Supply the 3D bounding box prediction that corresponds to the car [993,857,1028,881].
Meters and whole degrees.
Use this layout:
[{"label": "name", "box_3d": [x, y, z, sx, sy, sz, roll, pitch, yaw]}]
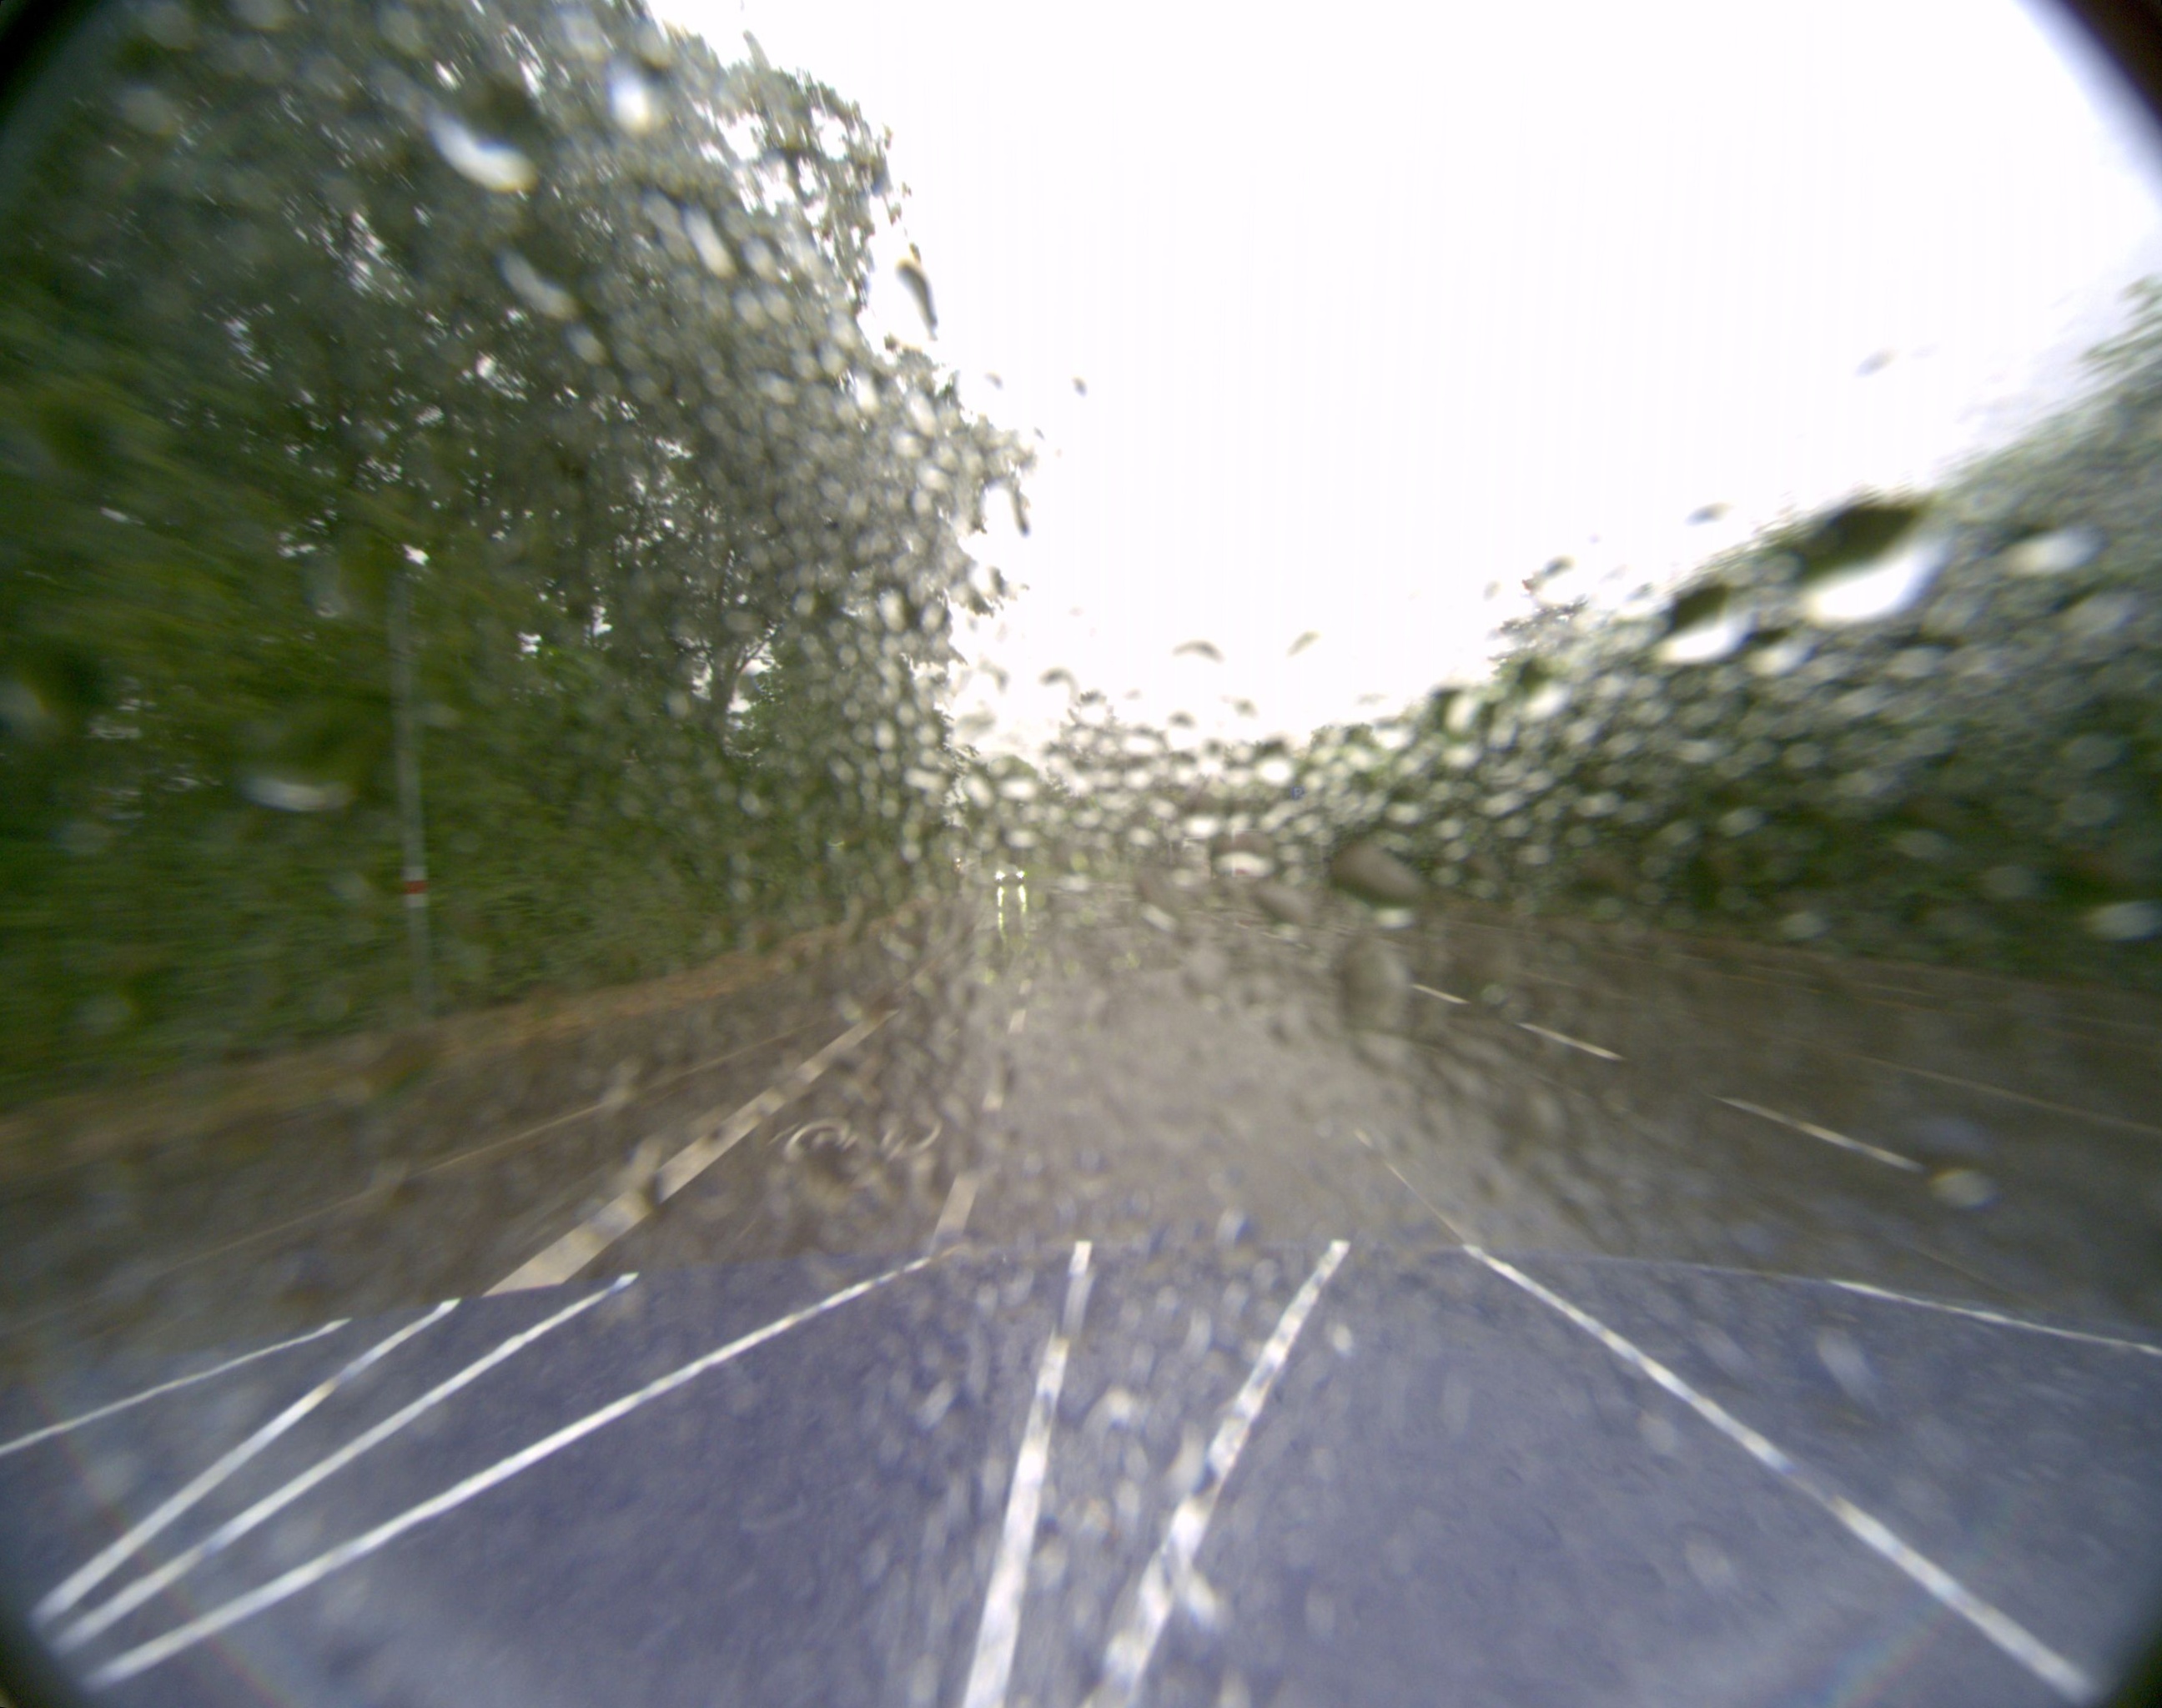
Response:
[{"label": "car", "box_3d": [-4.998, 1.043, 53.611, 1.801, 1.543, 3.995, -3, 0, -14]}]
